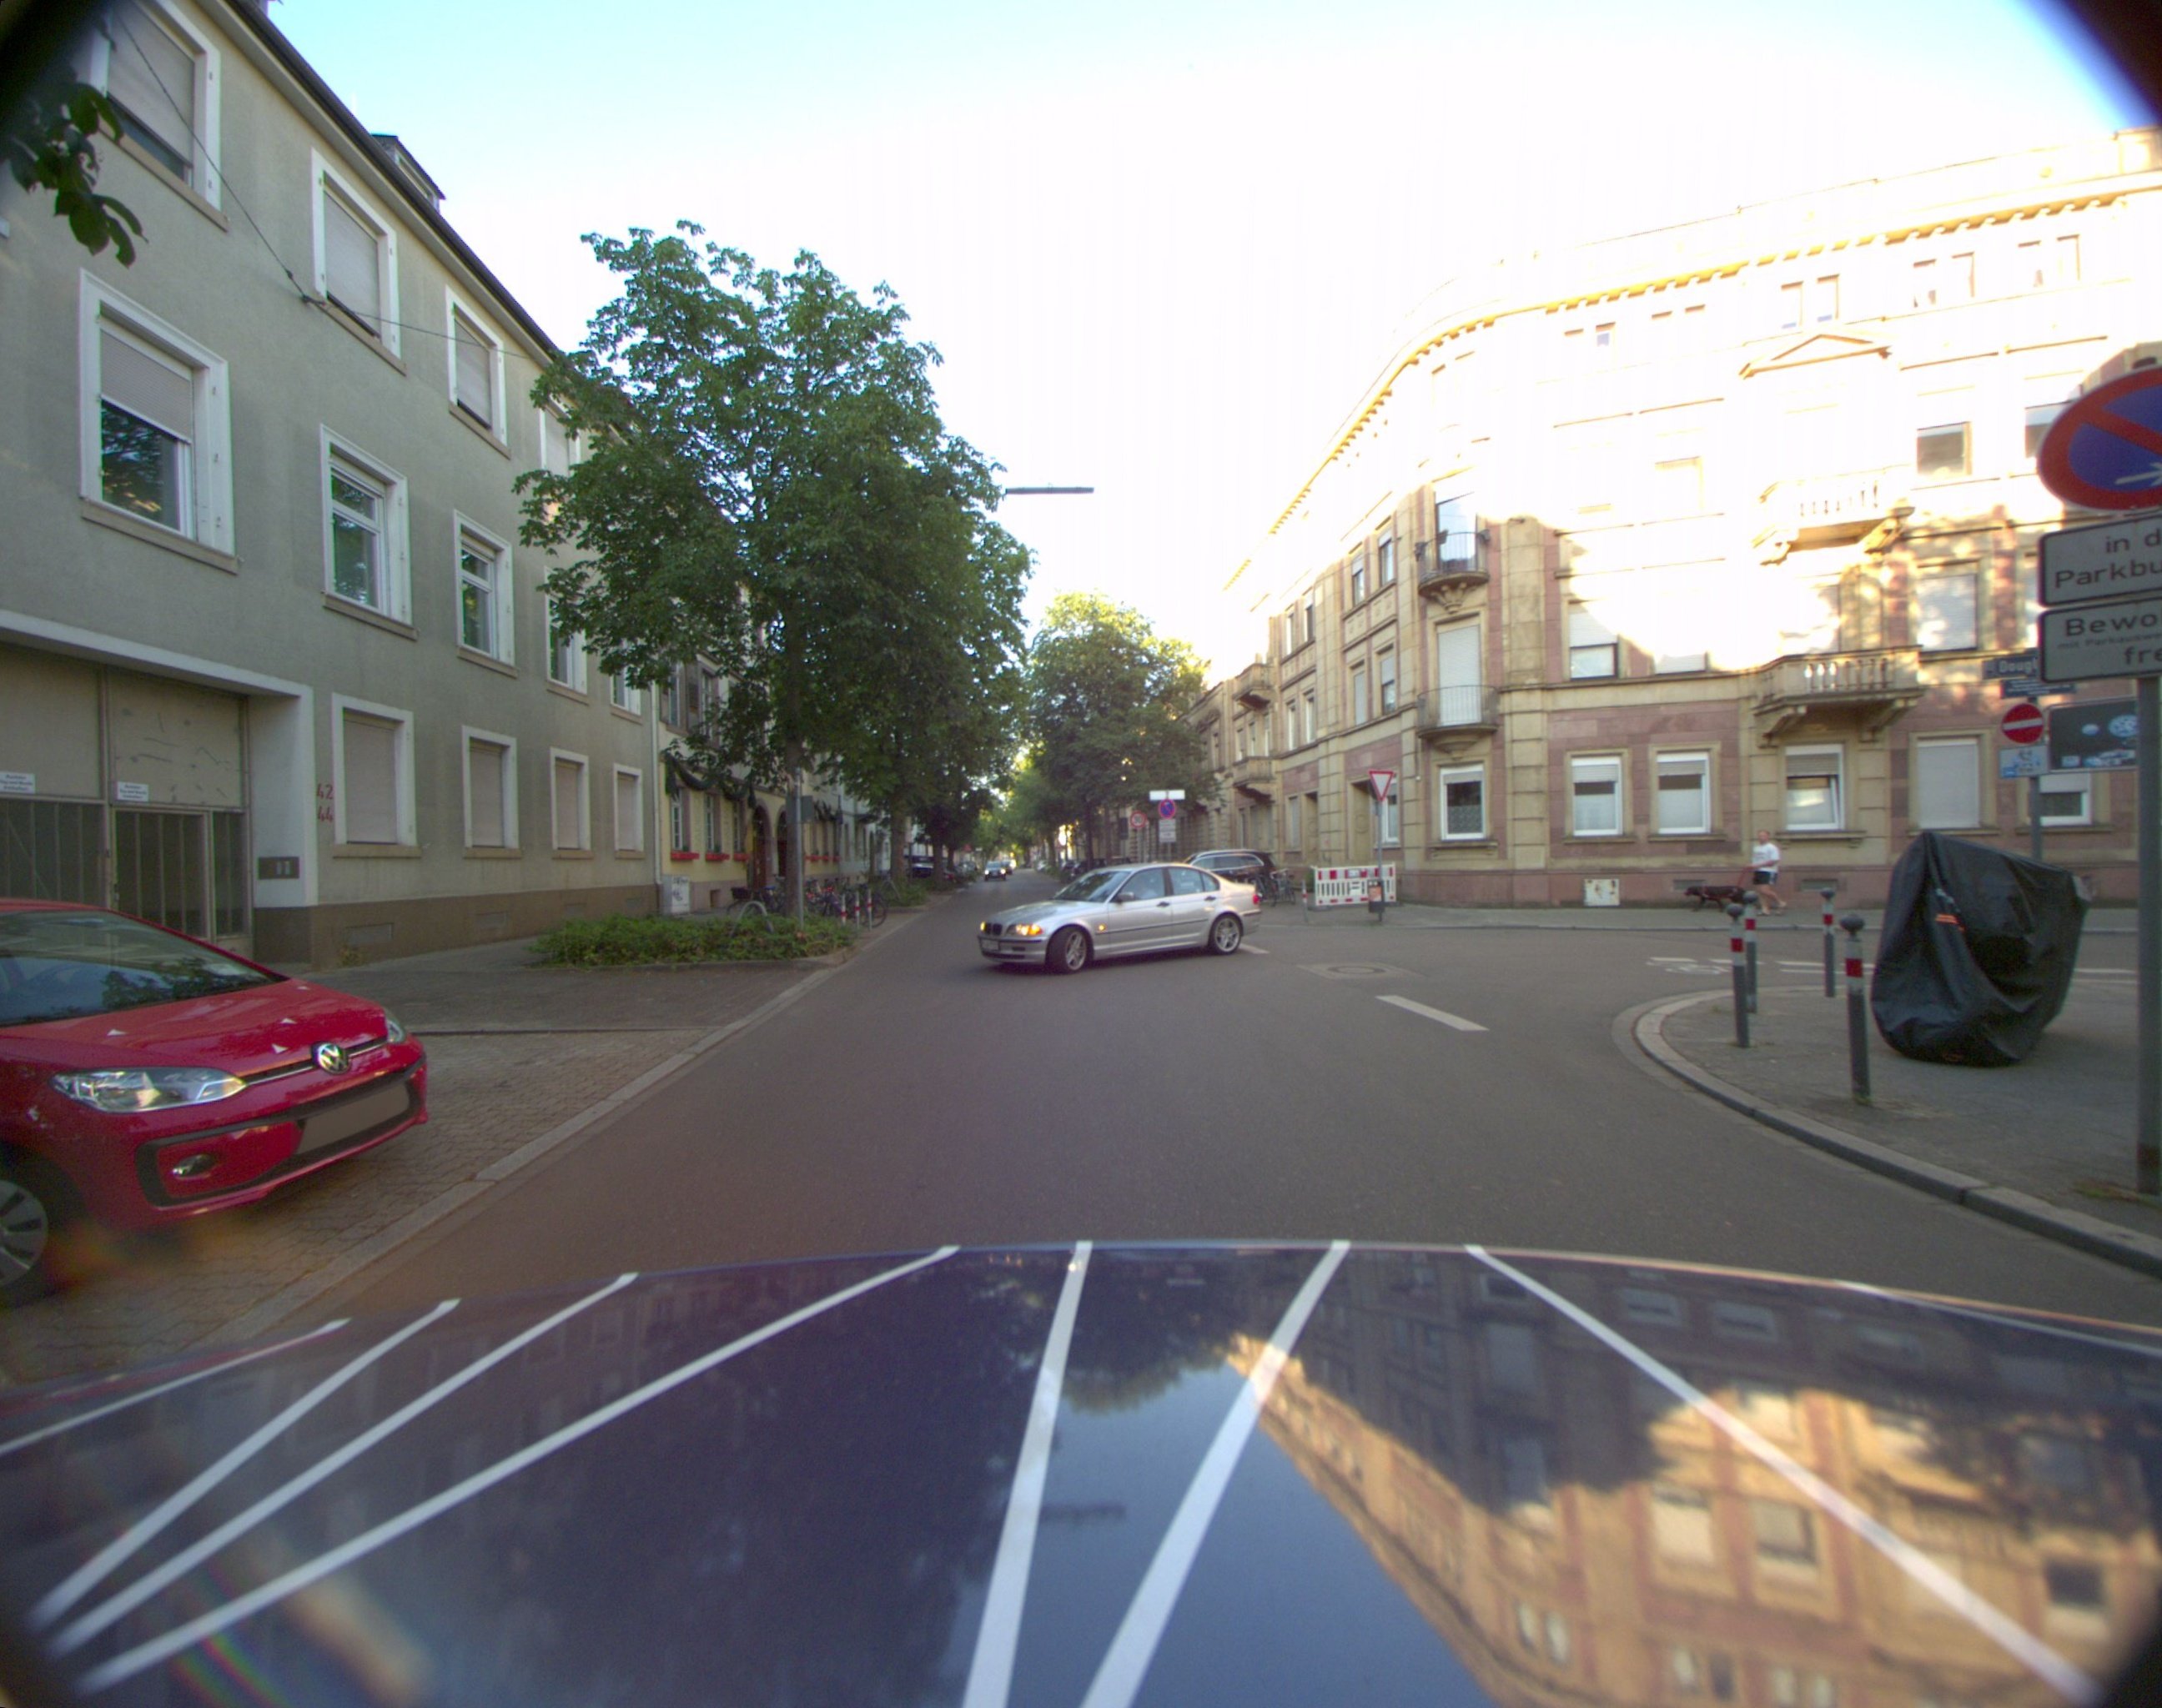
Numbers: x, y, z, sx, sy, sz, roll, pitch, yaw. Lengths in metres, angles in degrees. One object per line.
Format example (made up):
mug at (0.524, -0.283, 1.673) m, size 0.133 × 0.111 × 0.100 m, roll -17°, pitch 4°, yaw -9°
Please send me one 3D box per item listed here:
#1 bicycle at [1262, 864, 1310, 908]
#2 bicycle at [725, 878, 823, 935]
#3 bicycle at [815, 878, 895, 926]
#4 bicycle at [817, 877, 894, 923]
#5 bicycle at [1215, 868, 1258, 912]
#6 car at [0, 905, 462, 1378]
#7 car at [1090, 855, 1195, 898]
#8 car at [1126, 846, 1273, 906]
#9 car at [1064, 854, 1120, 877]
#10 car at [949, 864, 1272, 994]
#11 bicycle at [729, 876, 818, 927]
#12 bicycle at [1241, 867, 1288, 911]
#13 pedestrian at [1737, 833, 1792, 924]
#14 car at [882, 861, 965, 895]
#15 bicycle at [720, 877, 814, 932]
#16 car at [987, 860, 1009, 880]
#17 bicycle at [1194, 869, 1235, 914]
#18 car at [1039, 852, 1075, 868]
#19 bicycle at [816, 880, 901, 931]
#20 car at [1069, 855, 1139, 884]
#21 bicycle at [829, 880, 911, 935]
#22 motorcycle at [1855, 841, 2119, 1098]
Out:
bicycle at (5.792, 0.882, 21.594) m, size 0.562 × 1.144 × 2.038 m, roll -2°, pitch 0°, yaw -8°
bicycle at (-7.037, 1.182, 17.525) m, size 2.030 × 1.220 × 0.535 m, roll -1°, pitch 0°, yaw -16°
bicycle at (-6.130, 1.296, 20.695) m, size 2.029 × 1.220 × 0.535 m, roll -1°, pitch 0°, yaw -11°
bicycle at (-6.371, 1.296, 21.565) m, size 2.029 × 1.220 × 0.535 m, roll -1°, pitch 0°, yaw -11°
bicycle at (4.380, 0.985, 21.503) m, size 0.562 × 1.144 × 2.038 m, roll -1°, pitch 0°, yaw -6°
car at (-5.168, 1.050, 3.185) m, size 3.621 × 1.468 × 1.663 m, roll -1°, pitch 0°, yaw -7°
car at (2.529, 0.933, 31.862) m, size 4.243 × 1.668 × 1.742 m, roll -1°, pitch 0°, yaw -1°
car at (3.722, 0.685, 24.413) m, size 4.422 × 1.771 × 1.742 m, roll -1°, pitch 0°, yaw -1°
car at (0.864, 0.879, 60.626) m, size 4.245 × 1.749 × 1.741 m, roll -1°, pitch 0°, yaw -4°
car at (0.524, 0.918, 10.976) m, size 4.443 × 1.433 × 1.708 m, roll -1°, pitch 0°, yaw -32°
bicycle at (-7.817, 1.193, 19.373) m, size 2.029 × 1.220 × 0.535 m, roll -1°, pitch 0°, yaw -13°
bicycle at (5.173, 0.962, 21.545) m, size 0.562 × 1.144 × 2.038 m, roll -2°, pitch 0°, yaw -8°
pedestrian at (13.835, 0.493, 15.395) m, size 0.650 × 1.797 × 0.574 m, roll 0°, pitch 1°, yaw 18°
car at (-8.555, 1.290, 41.446) m, size 4.245 × 1.729 × 1.741 m, roll -1°, pitch 0°, yaw -6°
bicycle at (-7.496, 1.192, 18.227) m, size 2.030 × 1.220 × 0.535 m, roll -1°, pitch 0°, yaw -16°
car at (-7.029, 1.318, 64.300) m, size 1.807 × 1.543 × 3.997 m, roll -1°, pitch 0°, yaw -7°
bicycle at (3.741, 1.030, 21.434) m, size 0.562 × 1.144 × 2.038 m, roll -1°, pitch 0°, yaw -6°
car at (-2.946, 0.715, 92.314) m, size 4.245 × 1.749 × 1.741 m, roll -1°, pitch 0°, yaw -4°
bicycle at (-5.663, 1.292, 19.414) m, size 2.029 × 1.220 × 0.535 m, roll -1°, pitch 0°, yaw -11°
car at (1.409, 0.967, 48.155) m, size 4.245 × 1.749 × 1.741 m, roll -1°, pitch 0°, yaw -4°
bicycle at (-5.040, 1.266, 18.174) m, size 1.849 × 1.220 × 0.535 m, roll -1°, pitch 0°, yaw -16°
motorcycle at (6.492, 0.678, 5.411) m, size 2.286 × 1.496 × 0.816 m, roll -1°, pitch 1°, yaw -30°
